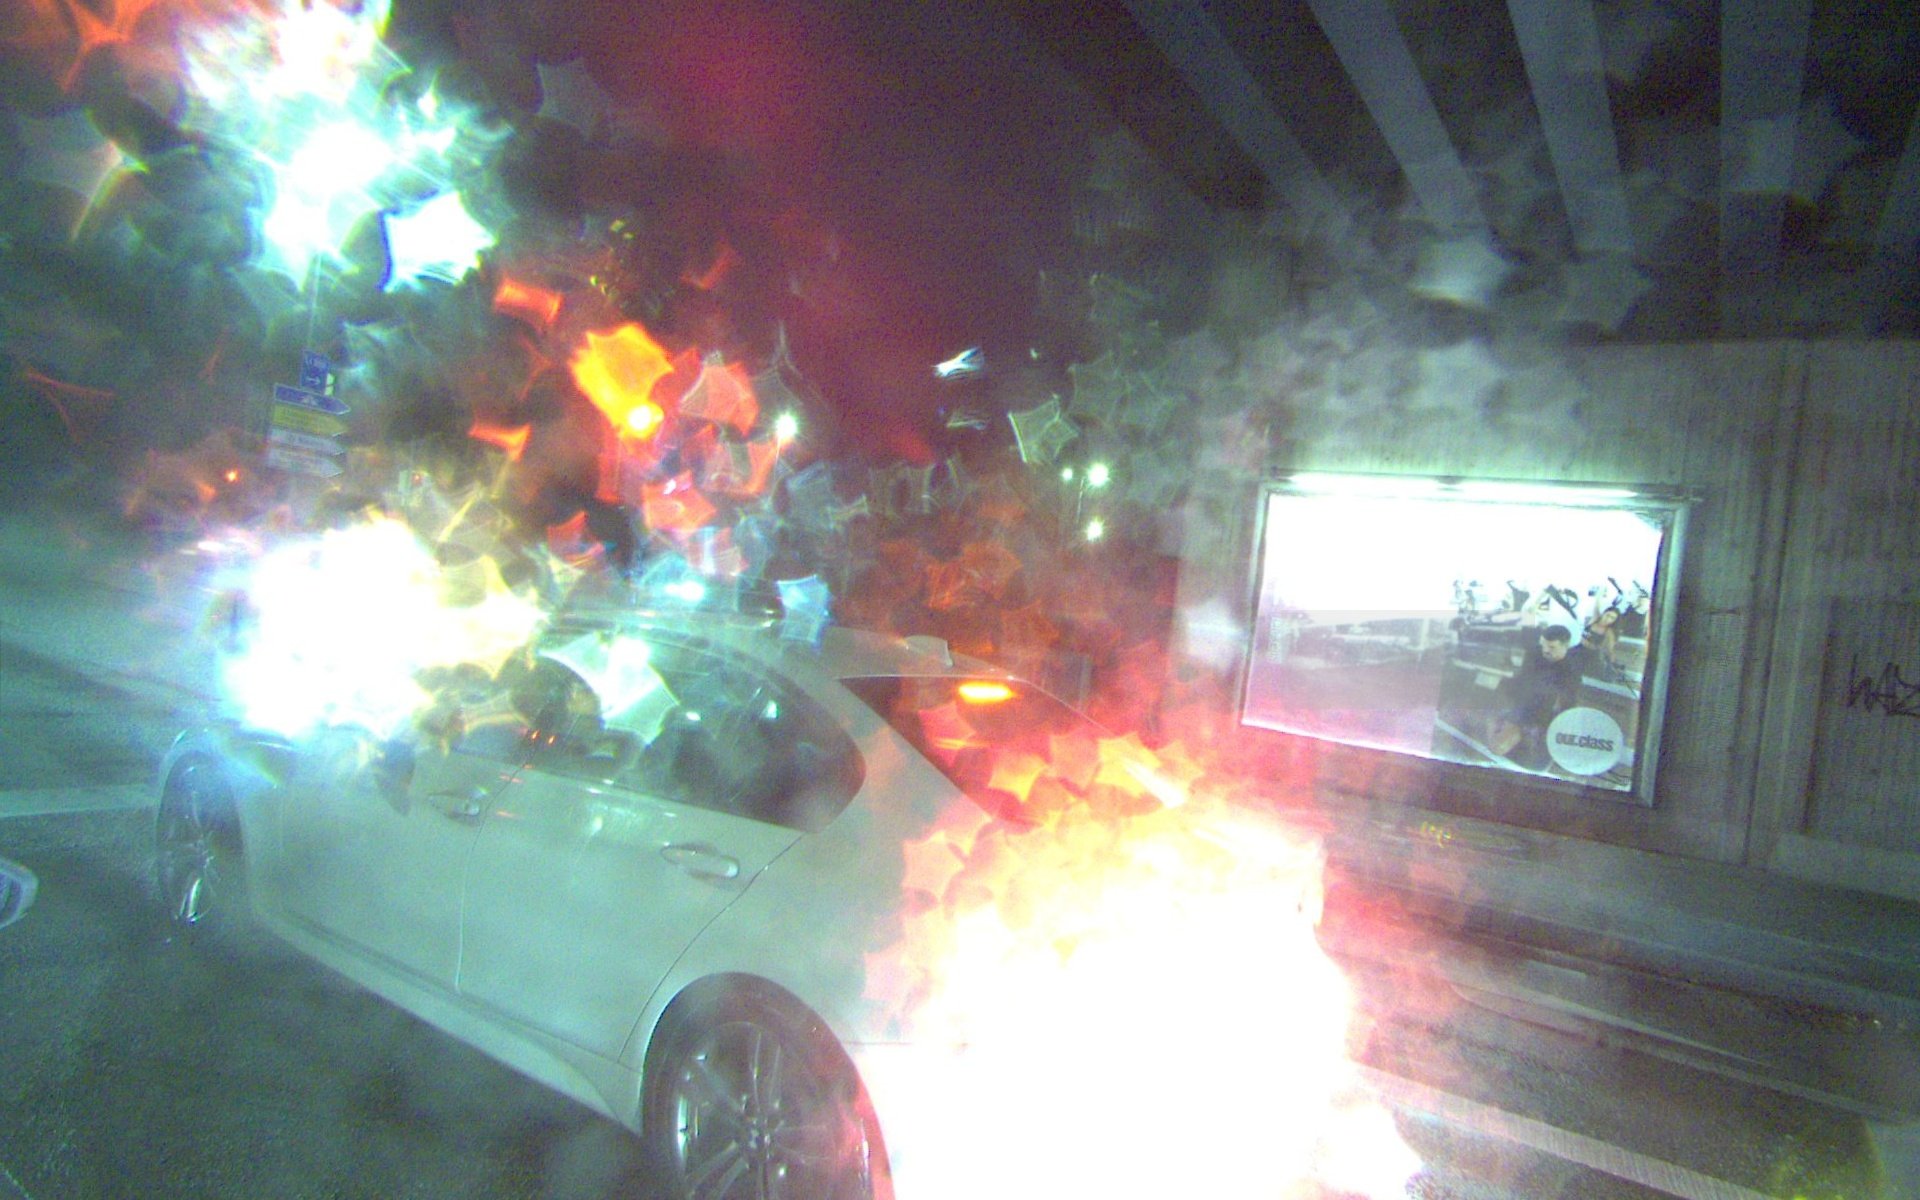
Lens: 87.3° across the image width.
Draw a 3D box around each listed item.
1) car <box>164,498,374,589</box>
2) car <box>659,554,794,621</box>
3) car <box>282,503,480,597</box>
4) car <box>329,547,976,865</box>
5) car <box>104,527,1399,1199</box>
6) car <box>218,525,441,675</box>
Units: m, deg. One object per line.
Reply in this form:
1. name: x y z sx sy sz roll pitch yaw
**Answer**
1. car: -18.273 -1.445 26.767 1.882 1.604 4.077 5 -5 35
2. car: -9.194 -0.442 40.003 1.968 2.008 5.097 7 -1 34
3. car: -18.503 -1.550 32.378 2.110 2.169 4.914 6 -2 38
4. car: -2.351 0.633 7.532 4.484 1.406 1.757 8 -1 25
5. car: -0.971 0.705 3.494 4.277 1.420 1.720 6 -2 32
6. car: -7.944 -0.056 12.541 1.629 1.475 3.551 9 -2 -42
